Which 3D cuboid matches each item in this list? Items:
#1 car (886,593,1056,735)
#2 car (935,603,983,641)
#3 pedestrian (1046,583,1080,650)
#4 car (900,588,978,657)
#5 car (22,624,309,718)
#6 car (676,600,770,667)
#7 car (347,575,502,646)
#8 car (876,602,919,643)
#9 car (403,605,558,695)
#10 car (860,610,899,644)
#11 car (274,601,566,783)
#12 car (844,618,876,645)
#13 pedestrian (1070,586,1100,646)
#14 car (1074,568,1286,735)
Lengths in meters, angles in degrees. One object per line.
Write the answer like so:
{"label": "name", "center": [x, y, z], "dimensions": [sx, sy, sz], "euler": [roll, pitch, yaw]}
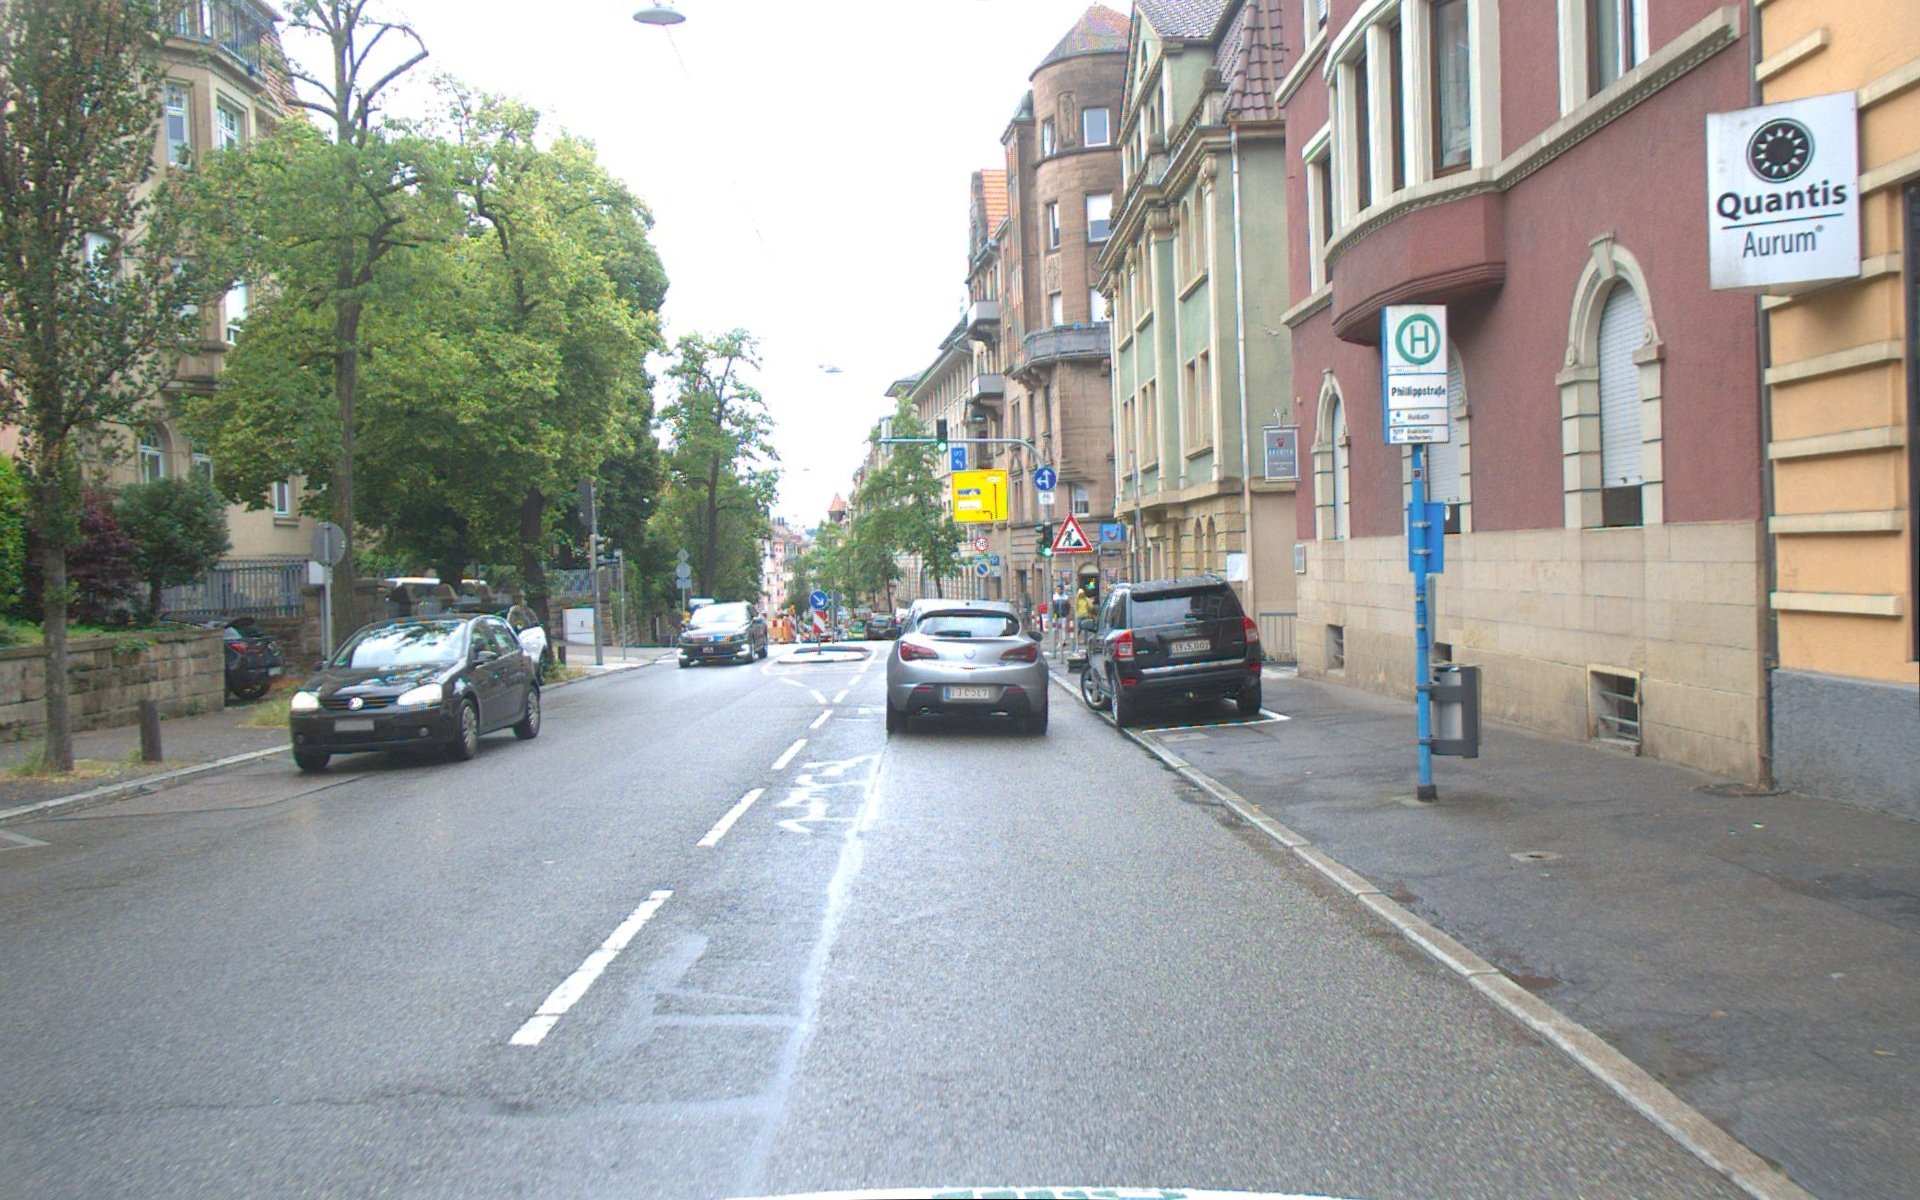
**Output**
{"label": "car", "center": [0.127, 0.713, 19.433], "dimensions": [1.774, 1.475, 3.869], "euler": [-1, -1, 0]}
{"label": "car", "center": [-0.059, 1.015, 75.567], "dimensions": [1.626, 1.570, 3.658], "euler": [-4, -1, -8]}
{"label": "pedestrian", "center": [2.892, 0.464, 46.492], "dimensions": [0.703, 1.805, 0.666], "euler": [-4, 0, 18]}
{"label": "car", "center": [-0.491, 0.539, 39.286], "dimensions": [1.736, 1.531, 3.868], "euler": [-1, -1, 0]}
{"label": "car", "center": [-13.310, 1.174, 27.893], "dimensions": [3.907, 1.350, 1.836], "euler": [-2, 0, -2]}
{"label": "car", "center": [-5.798, 0.799, 40.905], "dimensions": [1.779, 1.544, 4.546], "euler": [-1, 0, -2]}
{"label": "car", "center": [-18.268, 0.327, 56.517], "dimensions": [4.564, 2.083, 2.027], "euler": [4, 1, 14]}
{"label": "car", "center": [-2.629, 0.965, 69.019], "dimensions": [1.624, 1.570, 3.662], "euler": [-4, -1, -3]}
{"label": "car", "center": [-8.969, 0.918, 31.297], "dimensions": [1.706, 1.586, 4.301], "euler": [0, -1, 0]}
{"label": "car", "center": [-4.126, 1.377, 84.083], "dimensions": [1.626, 1.570, 3.658], "euler": [-4, -1, -8]}
{"label": "car", "center": [-5.700, 0.880, 18.099], "dimensions": [1.736, 1.543, 4.590], "euler": [-2, 1, -2]}
{"label": "car", "center": [-6.343, 2.011, 104.670], "dimensions": [1.626, 1.570, 3.658], "euler": [-4, -1, -8]}
{"label": "pedestrian", "center": [3.485, 0.445, 46.095], "dimensions": [0.584, 1.612, 0.666], "euler": [-4, 0, 17]}
{"label": "car", "center": [2.565, 0.606, 20.398], "dimensions": [1.839, 1.658, 4.696], "euler": [-5, -1, 0]}
